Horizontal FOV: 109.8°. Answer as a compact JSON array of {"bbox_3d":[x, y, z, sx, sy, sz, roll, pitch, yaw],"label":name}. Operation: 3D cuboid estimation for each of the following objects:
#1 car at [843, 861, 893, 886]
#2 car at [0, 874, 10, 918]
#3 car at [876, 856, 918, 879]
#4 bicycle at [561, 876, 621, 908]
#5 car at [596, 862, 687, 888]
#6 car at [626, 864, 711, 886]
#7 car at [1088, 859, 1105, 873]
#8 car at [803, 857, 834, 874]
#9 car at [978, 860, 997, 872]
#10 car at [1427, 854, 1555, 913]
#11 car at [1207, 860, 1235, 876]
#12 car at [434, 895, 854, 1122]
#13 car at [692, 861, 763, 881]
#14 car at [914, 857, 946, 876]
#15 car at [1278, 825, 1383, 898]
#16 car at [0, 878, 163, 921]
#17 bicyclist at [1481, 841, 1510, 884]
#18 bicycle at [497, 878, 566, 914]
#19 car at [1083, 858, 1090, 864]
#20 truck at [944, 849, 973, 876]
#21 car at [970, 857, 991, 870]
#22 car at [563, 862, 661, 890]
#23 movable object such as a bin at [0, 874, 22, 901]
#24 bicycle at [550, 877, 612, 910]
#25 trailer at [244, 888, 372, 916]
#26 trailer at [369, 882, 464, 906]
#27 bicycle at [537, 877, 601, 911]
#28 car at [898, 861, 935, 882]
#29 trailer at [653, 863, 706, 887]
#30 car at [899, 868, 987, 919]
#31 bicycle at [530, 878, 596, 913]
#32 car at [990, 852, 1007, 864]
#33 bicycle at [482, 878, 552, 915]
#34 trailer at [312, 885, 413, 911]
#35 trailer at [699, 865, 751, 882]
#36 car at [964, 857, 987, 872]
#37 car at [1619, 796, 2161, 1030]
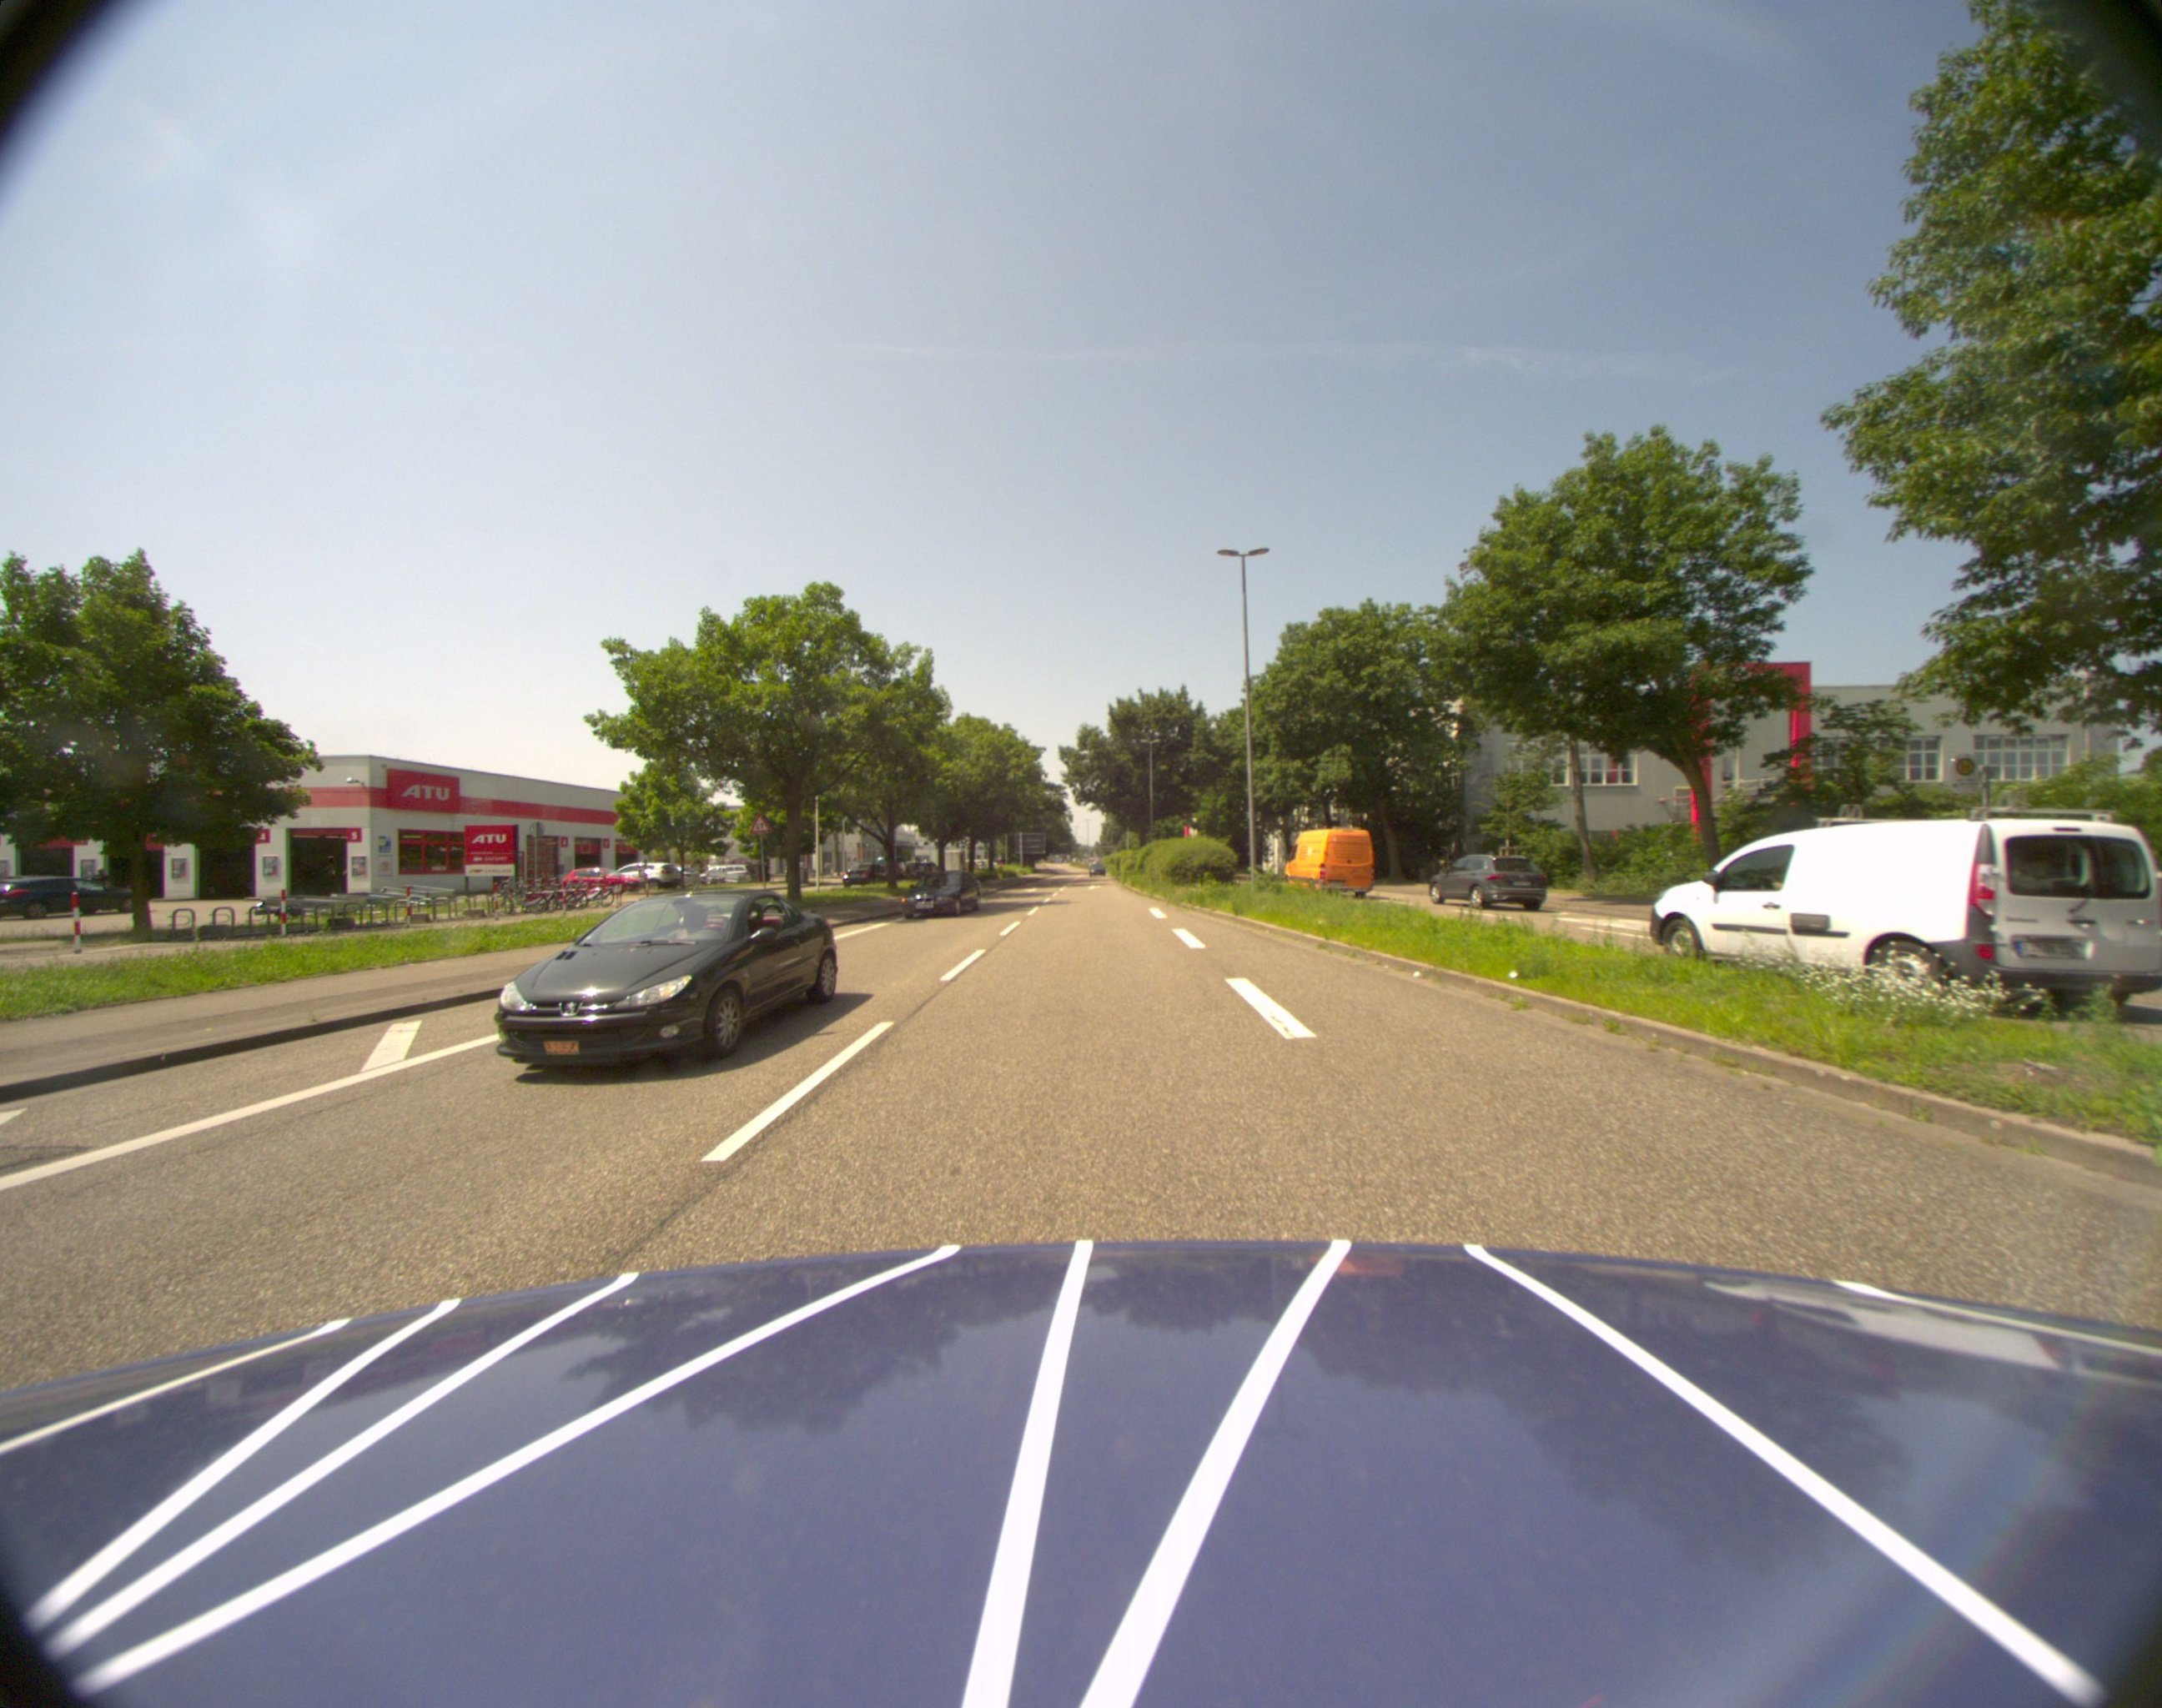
[{"bbox_3d":[-12.472,1.140,44.734,1.642,1.363,4.001,-1,0,2],"label":"car"},{"bbox_3d":[-41.640,1.593,26.841,1.717,1.653,4.145,0,0,1],"label":"car"},{"bbox_3d":[-12.224,0.869,50.686,1.719,1.458,4.001,-1,0,2],"label":"car"},{"bbox_3d":[-17.750,1.373,27.539,1.784,1.117,0.514,-1,0,-5],"label":"bicycle"},{"bbox_3d":[-24.270,1.137,42.080,3.997,1.394,1.747,-1,0,-2],"label":"car"},{"bbox_3d":[-24.094,1.213,44.446,3.997,1.201,1.747,-1,0,-2],"label":"car"},{"bbox_3d":[1.584,1.220,79.020,1.642,1.395,4.000,-1,0,1],"label":"car"},{"bbox_3d":[-24.256,1.042,70.378,1.759,1.586,3.998,-1,0,-5],"label":"car"},{"bbox_3d":[-11.572,1.447,93.923,1.719,1.458,4.001,-1,0,2],"label":"car"},{"bbox_3d":[12.561,0.843,23.591,1.720,1.594,4.213,2,0,1],"label":"car"},{"bbox_3d":[12.744,1.276,69.537,1.690,1.379,4.588,2,0,0],"label":"car"},{"bbox_3d":[-3.674,1.199,7.342,1.642,1.336,4.000,-3,0,1],"label":"car"},{"bbox_3d":[-23.964,1.142,51.627,3.997,1.293,1.689,-1,0,-2],"label":"car"},{"bbox_3d":[-12.240,0.995,61.855,1.719,1.504,4.001,-1,0,2],"label":"car"},{"bbox_3d":[9.690,0.286,30.153,2.271,2.552,6.058,1,0,1],"label":"car"},{"bbox_3d":[-37.434,1.644,28.159,1.717,1.364,4.145,0,0,1],"label":"car"},{"bbox_3d":[15.785,0.310,28.940,0.609,1.621,0.923,0,0,2],"label":"bicyclist"},{"bbox_3d":[-17.947,1.369,24.835,1.784,1.117,0.514,-1,0,-5],"label":"bicycle"},{"bbox_3d":[1.571,1.921,216.198,1.998,1.692,4.000,-1,0,1],"label":"car"},{"bbox_3d":[-11.831,0.836,73.771,1.904,2.552,4.001,-1,0,3],"label":"truck"},{"bbox_3d":[-11.398,1.099,86.081,1.719,1.458,4.001,-1,0,2],"label":"car"},{"bbox_3d":[-24.482,1.148,39.726,3.997,1.394,1.747,-1,0,-1],"label":"car"},{"bbox_3d":[-50.898,1.564,35.622,1.002,1.251,1.067,-1,0,5],"label":"movable object such as a bin"},{"bbox_3d":[-17.689,1.380,26.894,1.784,1.117,0.514,-1,0,-5],"label":"bicycle"},{"bbox_3d":[-23.571,1.454,23.229,2.466,0.757,1.449,-1,0,3],"label":"trailer"},{"bbox_3d":[-23.396,1.406,26.784,2.137,0.757,1.394,-1,0,3],"label":"trailer"},{"bbox_3d":[-17.664,1.385,26.242,1.784,1.117,0.514,-1,0,-5],"label":"bicycle"},{"bbox_3d":[-12.066,1.251,56.043,1.719,1.511,4.001,-1,0,2],"label":"car"},{"bbox_3d":[-26.088,1.332,49.387,2.642,1.518,1.415,-1,0,-1],"label":"trailer"},{"bbox_3d":[-4.233,1.185,24.001,1.641,1.363,4.147,-3,0,5],"label":"car"},{"bbox_3d":[-17.447,1.402,25.622,1.784,1.117,0.514,-1,0,-5],"label":"bicycle"},{"bbox_3d":[-10.866,0.510,100.066,1.719,1.458,4.001,-1,0,2],"label":"car"},{"bbox_3d":[-17.959,1.340,24.222,1.784,1.117,0.514,-1,0,-5],"label":"bicycle"},{"bbox_3d":[-23.553,1.435,24.959,2.137,0.757,1.267,-1,0,3],"label":"trailer"},{"bbox_3d":[-23.136,1.262,49.484,2.642,1.046,1.578,-1,0,-1],"label":"trailer"},{"bbox_3d":[-11.007,1.103,79.780,1.719,1.458,4.001,-1,0,2],"label":"car"},{"bbox_3d":[8.564,0.509,8.534,1.856,1.894,4.426,2,0,1],"label":"car"}]
